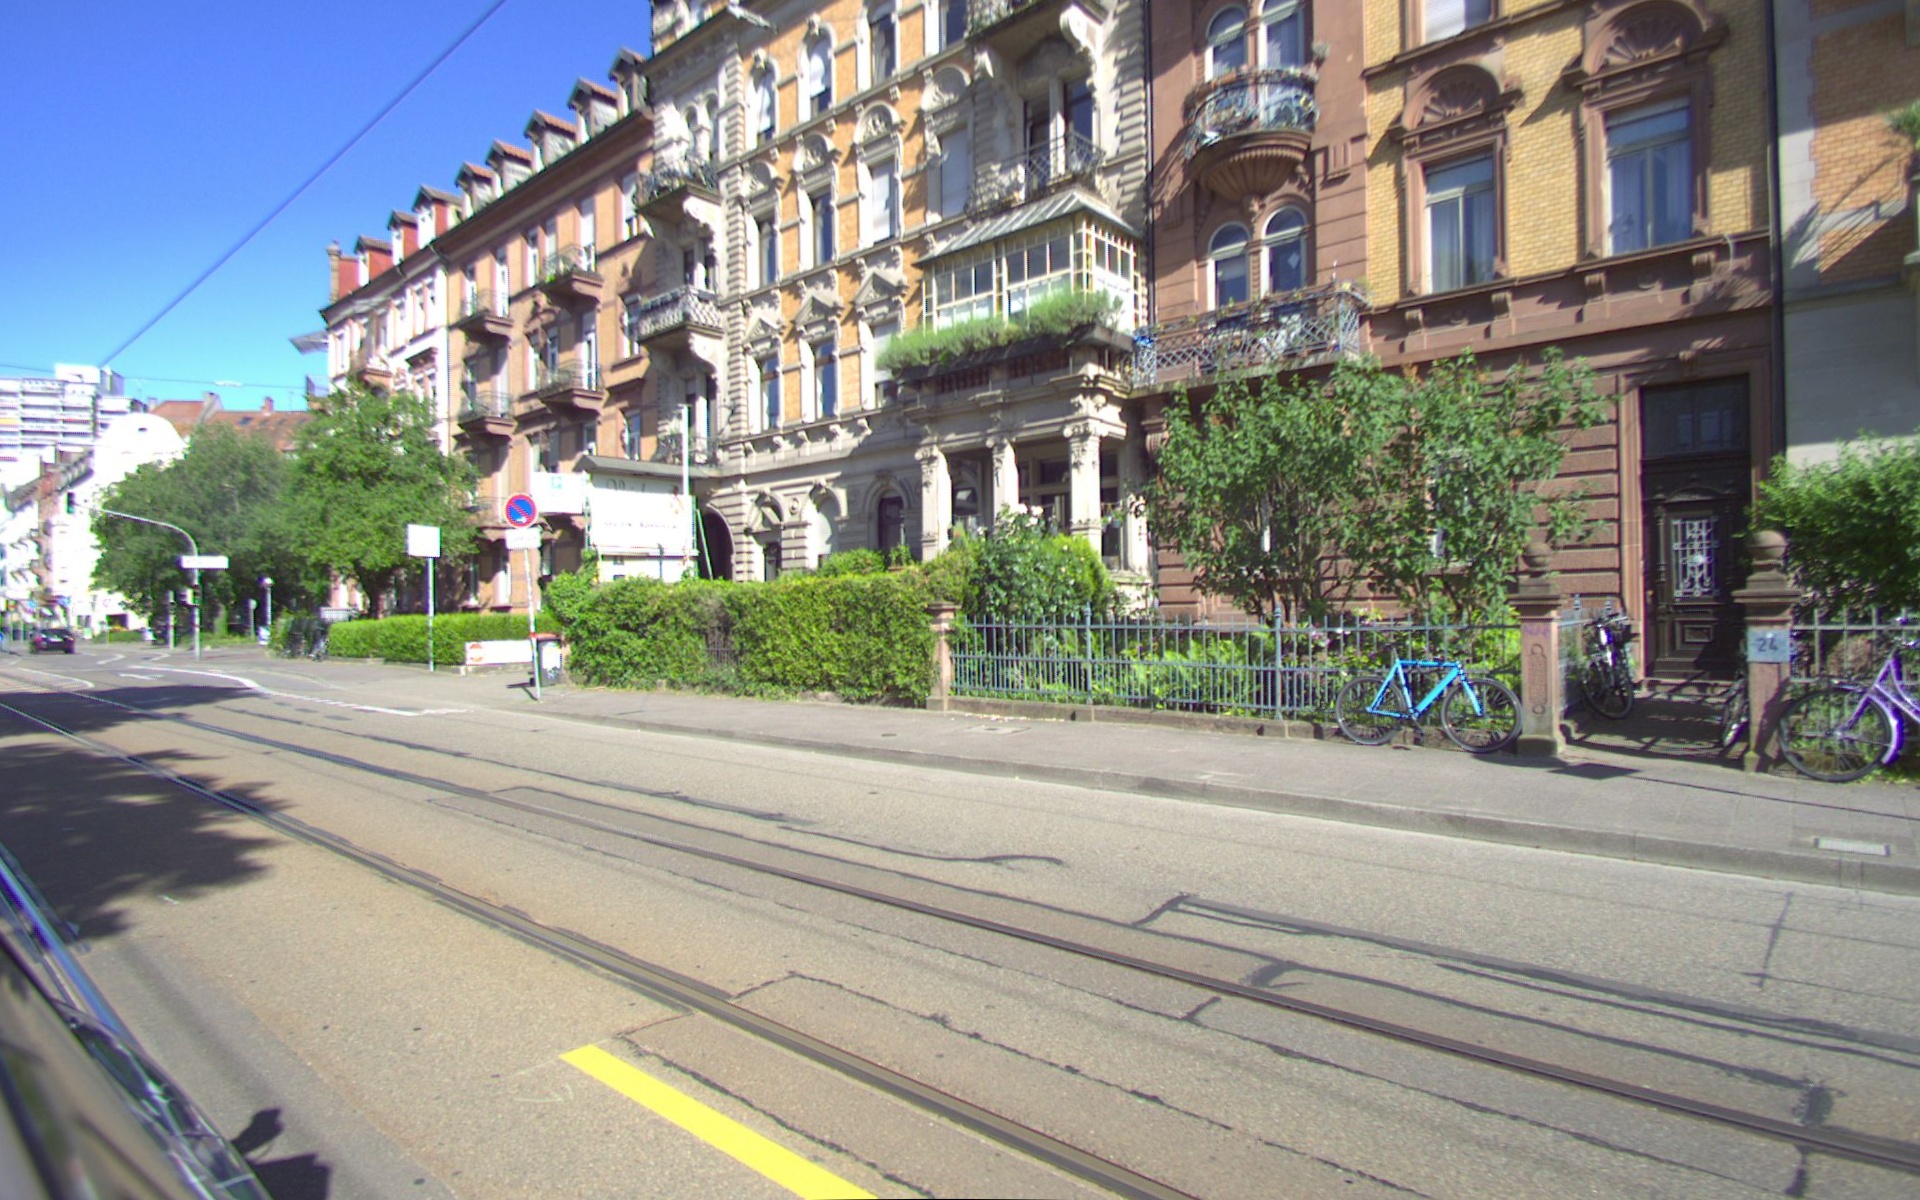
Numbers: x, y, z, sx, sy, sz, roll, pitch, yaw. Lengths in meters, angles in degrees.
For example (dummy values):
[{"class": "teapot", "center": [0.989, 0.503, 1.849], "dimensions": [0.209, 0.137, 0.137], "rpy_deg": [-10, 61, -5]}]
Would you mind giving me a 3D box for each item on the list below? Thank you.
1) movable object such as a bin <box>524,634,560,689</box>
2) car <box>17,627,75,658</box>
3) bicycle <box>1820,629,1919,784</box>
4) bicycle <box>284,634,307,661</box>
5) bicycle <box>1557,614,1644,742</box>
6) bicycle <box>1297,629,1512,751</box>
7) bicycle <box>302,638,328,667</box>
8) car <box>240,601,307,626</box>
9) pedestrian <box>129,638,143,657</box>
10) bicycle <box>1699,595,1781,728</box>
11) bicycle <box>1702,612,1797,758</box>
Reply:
[{"class": "movable object such as a bin", "center": [-8.726, 1.272, 21.112], "dimensions": [0.541, 1.094, 0.474], "rpy_deg": [-2, 0, 43]}, {"class": "car", "center": [-50.646, 2.349, 56.055], "dimensions": [4.965, 1.529, 1.813], "rpy_deg": [-2, 1, 42]}, {"class": "bicycle", "center": [7.066, 0.731, 6.926], "dimensions": [1.766, 1.041, 0.557], "rpy_deg": [-2, 0, 41]}, {"class": "bicycle", "center": [-24.495, 1.738, 37.283], "dimensions": [0.338, 0.933, 1.944], "rpy_deg": [-2, 0, -44]}, {"class": "bicycle", "center": [6.250, 0.718, 9.841], "dimensions": [0.479, 1.041, 1.559], "rpy_deg": [-2, 2, 40]}, {"class": "bicycle", "center": [4.226, 0.834, 9.716], "dimensions": [1.767, 1.041, 0.557], "rpy_deg": [-3, -1, 42]}, {"class": "bicycle", "center": [-21.775, 1.769, 34.161], "dimensions": [0.338, 0.933, 1.944], "rpy_deg": [-2, 0, -44]}, {"class": "car", "center": [-51.560, 0.993, 76.076], "dimensions": [3.967, 1.709, 1.692], "rpy_deg": [-2, 0, -41]}, {"class": "pedestrian", "center": [-60.196, 3.474, 73.922], "dimensions": [0.724, 1.291, 0.650], "rpy_deg": [-2, 0, 42]}, {"class": "bicycle", "center": [8.113, 0.590, 10.504], "dimensions": [0.564, 1.163, 1.744], "rpy_deg": [-2, 2, 40]}, {"class": "bicycle", "center": [6.959, 0.689, 8.891], "dimensions": [0.564, 1.041, 1.730], "rpy_deg": [-2, 2, 40]}]
